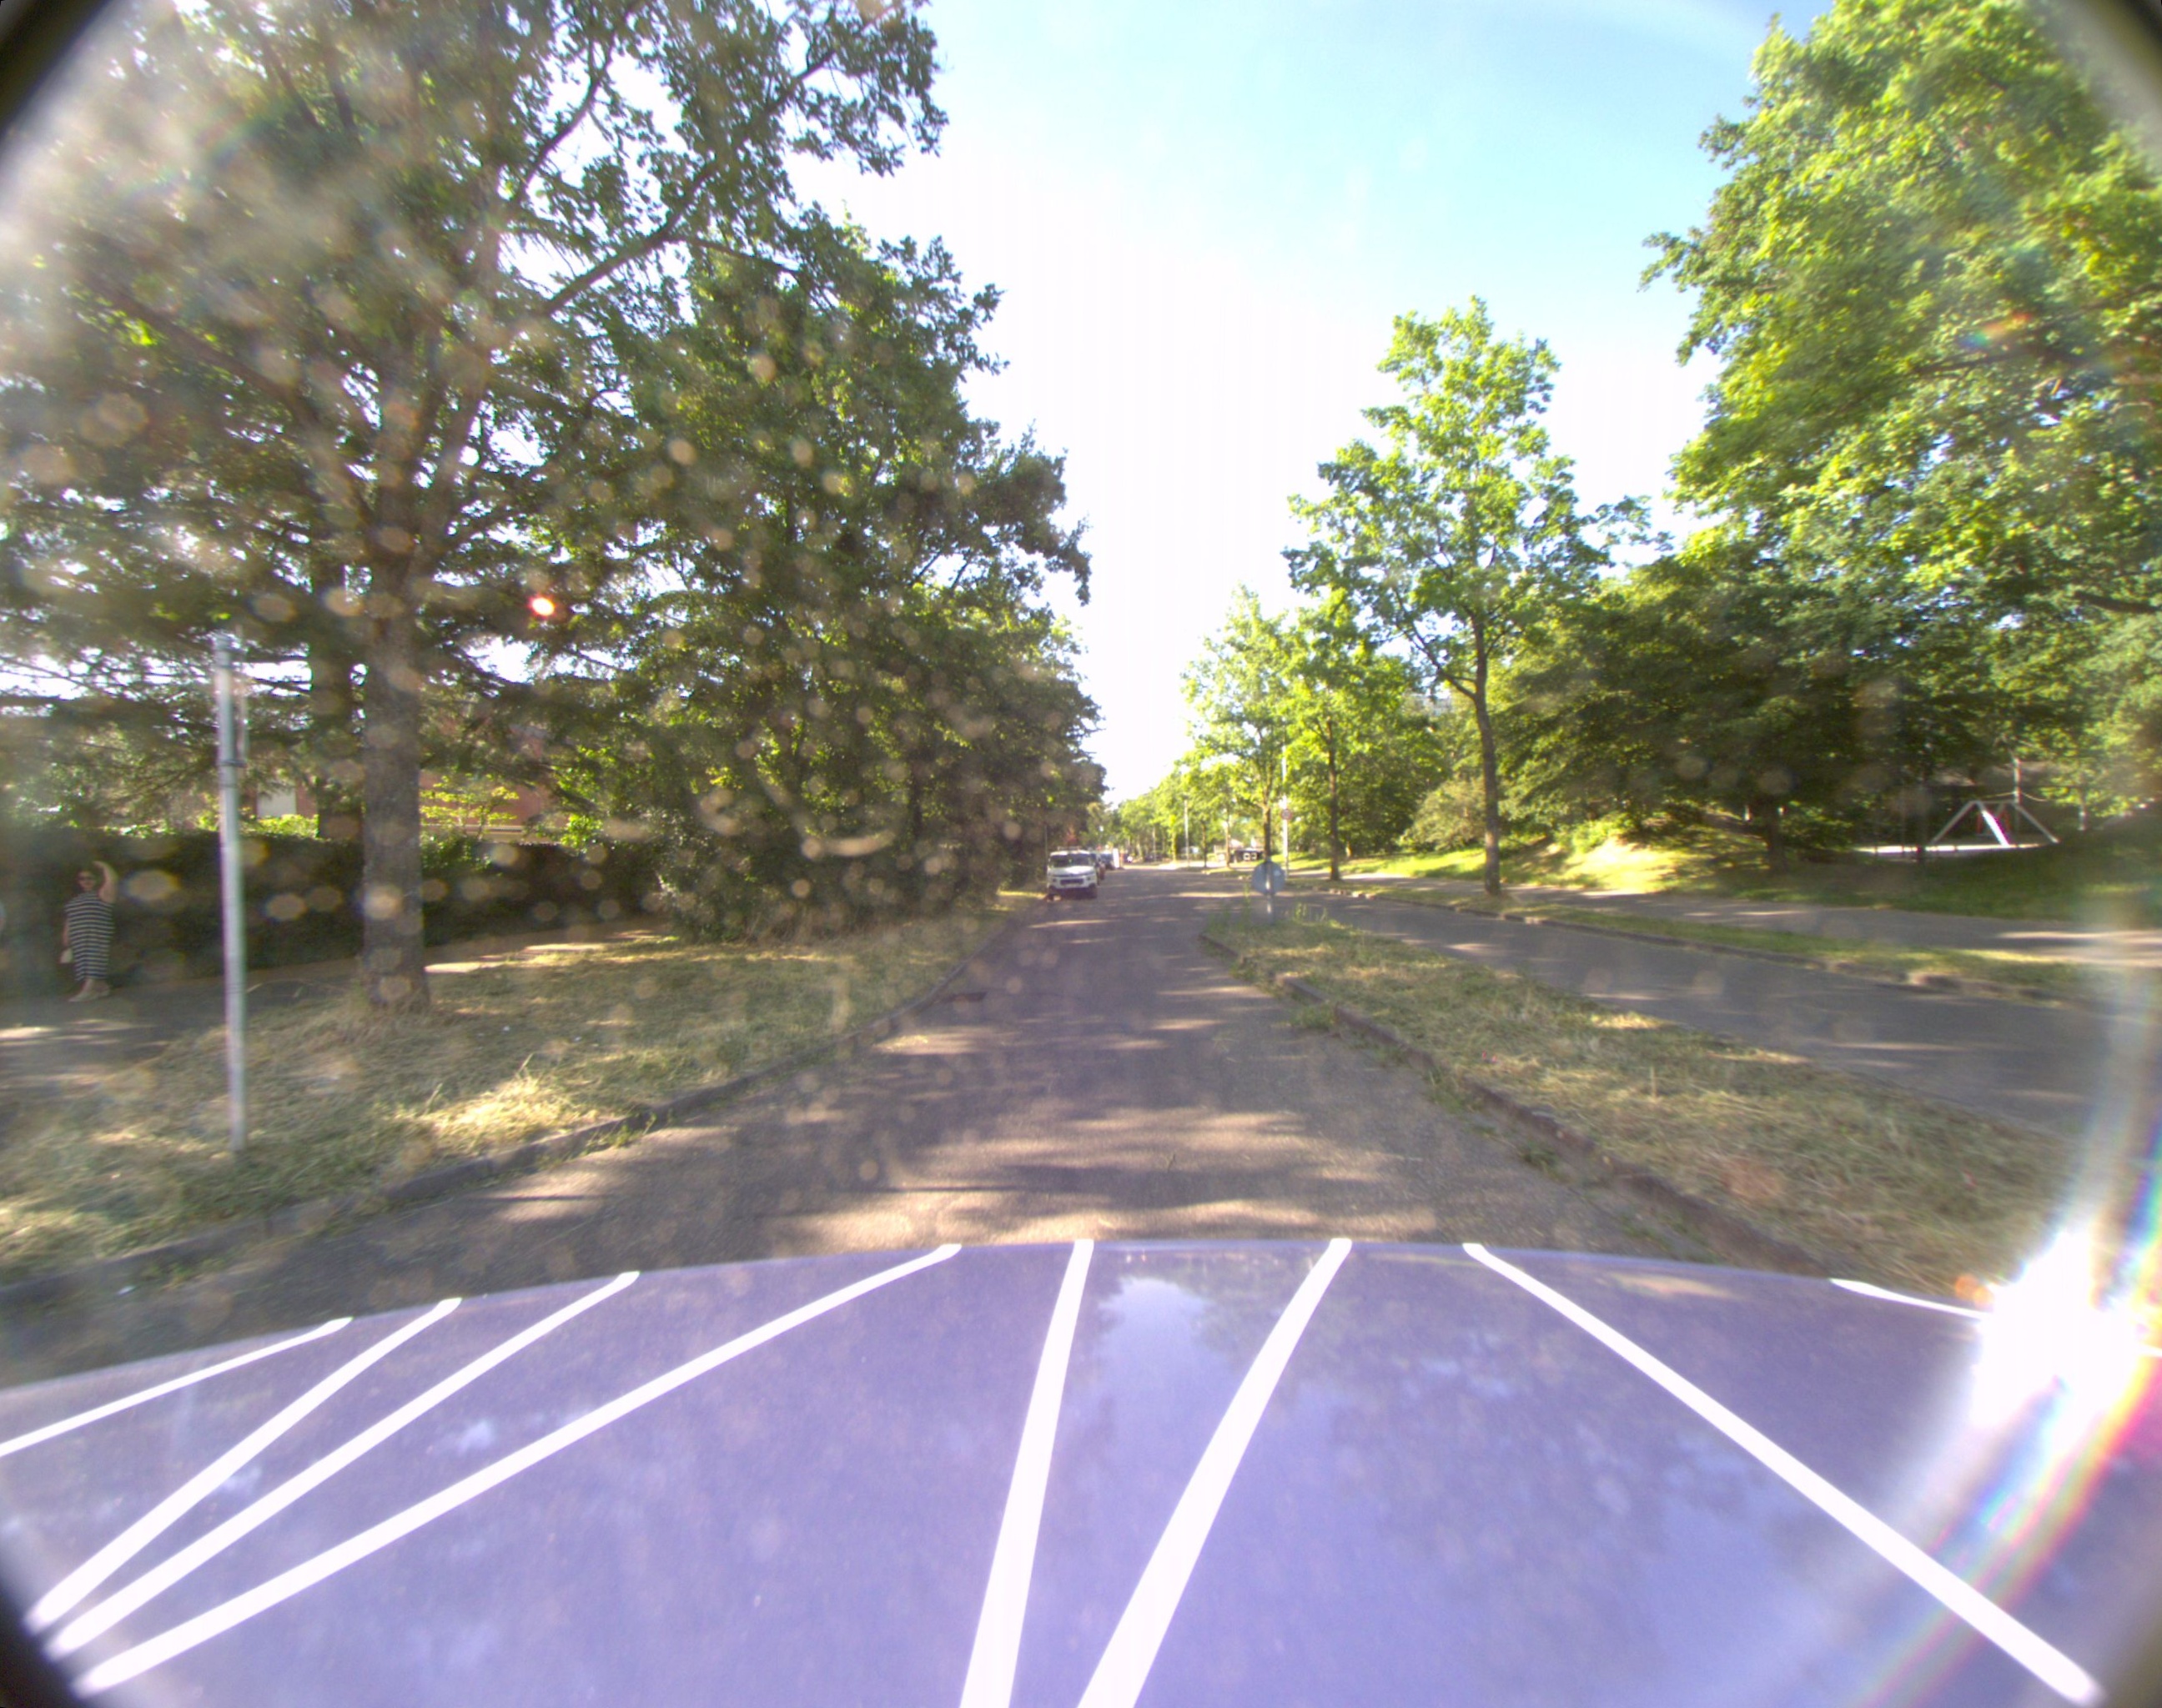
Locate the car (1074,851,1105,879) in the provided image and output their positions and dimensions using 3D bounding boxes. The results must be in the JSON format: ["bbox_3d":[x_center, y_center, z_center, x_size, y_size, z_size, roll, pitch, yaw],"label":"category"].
[{"bbox_3d":[0.549,0.671,47.840,1.772,1.629,3.753,-2,1,2],"label":"car"}]

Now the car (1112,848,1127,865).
[{"bbox_3d":[4.079,0.227,80.054,1.449,1.644,3.720,-2,1,4],"label":"car"}]

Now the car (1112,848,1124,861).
[{"bbox_3d":[5.084,0.019,103.791,1.421,1.644,3.911,-2,1,4],"label":"car"}]

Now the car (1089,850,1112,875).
[{"bbox_3d":[1.431,0.550,54.073,1.500,1.629,3.753,-2,1,2],"label":"car"}]

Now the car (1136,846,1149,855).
[{"bbox_3d":[11.471,-0.693,141.285,1.999,1.574,3.999,-1,1,0],"label":"car"}]

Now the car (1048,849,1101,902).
[{"bbox_3d":[-0.247,0.736,28.774,1.754,1.739,4.633,-2,1,0],"label":"car"}]

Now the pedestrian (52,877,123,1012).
[{"bbox_3d":[-11.916,1.063,9.118,0.537,1.552,0.397,0,1,28],"label":"pedestrian"}]

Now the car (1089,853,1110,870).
[{"bbox_3d":[1.587,0.613,64.097,1.499,1.351,3.467,-2,1,4],"label":"car"}]

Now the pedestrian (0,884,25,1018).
[{"bbox_3d":[-12.460,1.106,8.516,0.396,1.512,0.538,-1,1,1],"label":"pedestrian"}]

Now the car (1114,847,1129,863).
[{"bbox_3d":[4.529,0.103,84.812,1.449,1.644,3.720,-2,1,4],"label":"car"}]

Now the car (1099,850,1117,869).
[{"bbox_3d":[2.550,0.525,70.575,1.499,1.644,4.092,-2,1,4],"label":"car"}]

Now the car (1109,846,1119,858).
[{"bbox_3d":[5.002,-0.323,114.446,1.421,1.644,3.911,-2,1,4],"label":"car"}]

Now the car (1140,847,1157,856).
[{"bbox_3d":[10.865,-0.366,122.743,1.999,1.359,3.998,-1,1,-4],"label":"car"}]

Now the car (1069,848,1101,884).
[{"bbox_3d":[0.258,0.595,40.365,1.500,1.744,3.802,-2,1,2],"label":"car"}]
